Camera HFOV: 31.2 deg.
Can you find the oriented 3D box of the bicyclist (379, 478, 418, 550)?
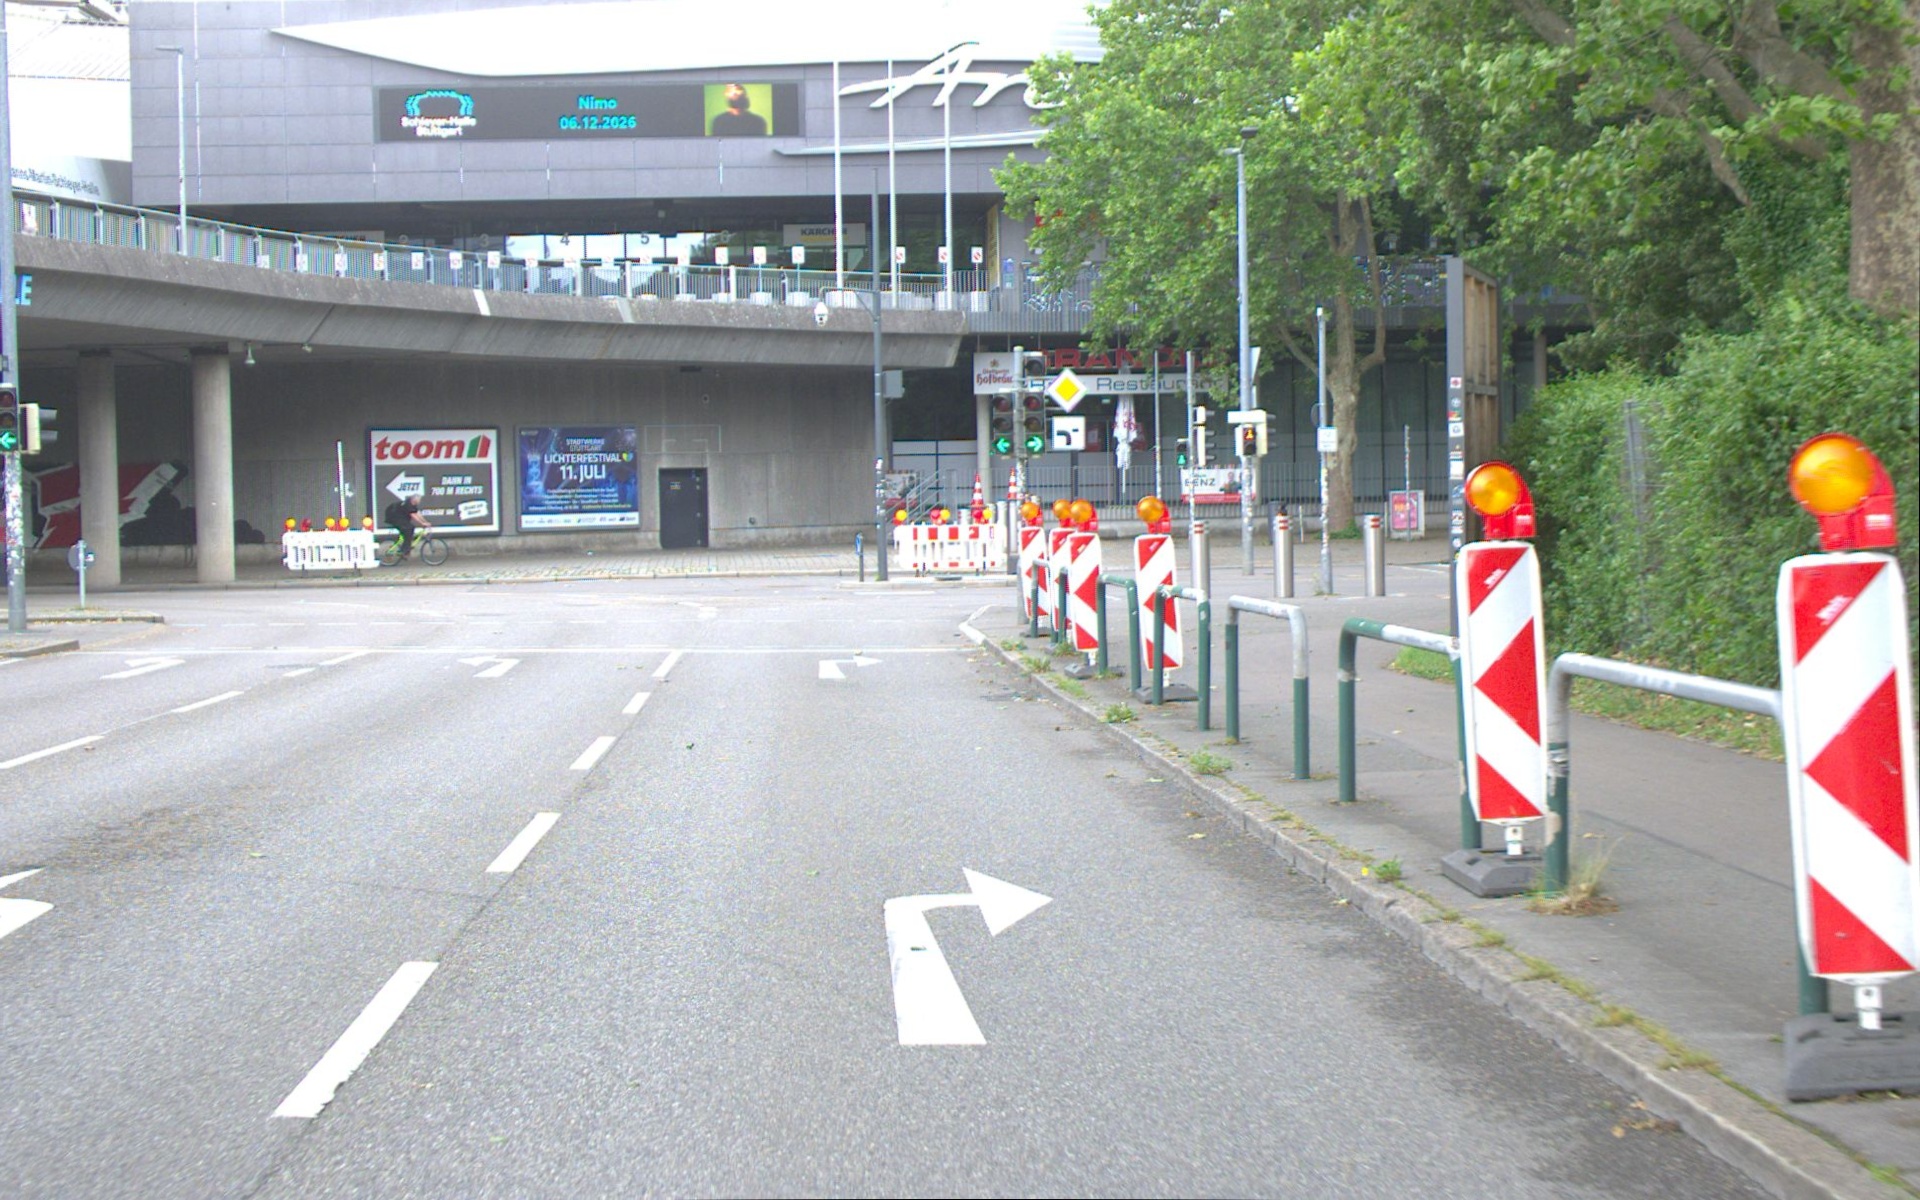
[{"bbox_3d":[-13.316,-2.027,81.560,0.851,1.692,0.767,1,1,-6],"label":"bicyclist"}]

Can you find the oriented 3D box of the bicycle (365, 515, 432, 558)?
[{"bbox_3d":[-13.316,-1.511,81.561,1.532,1.009,0.517,1,1,-6],"label":"bicycle"}]
